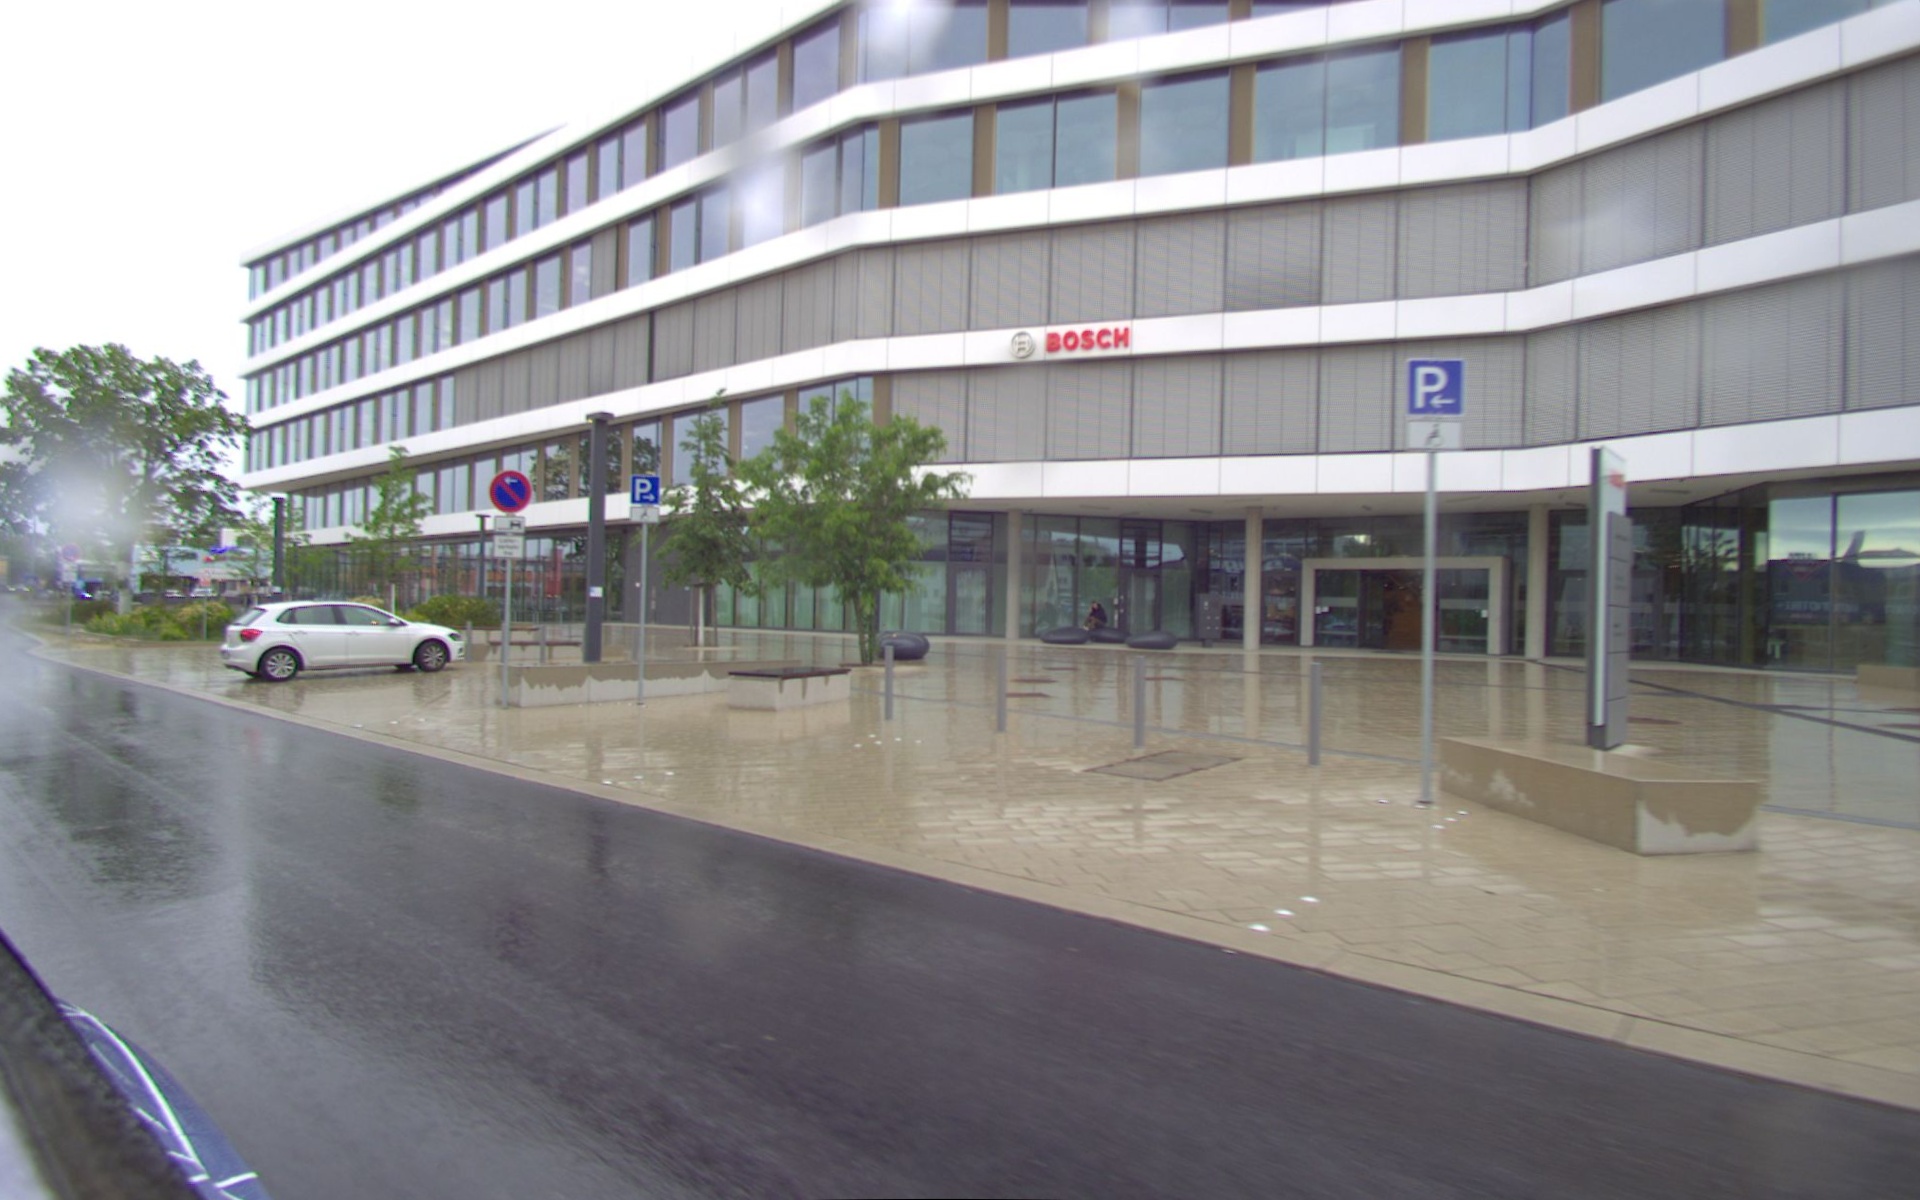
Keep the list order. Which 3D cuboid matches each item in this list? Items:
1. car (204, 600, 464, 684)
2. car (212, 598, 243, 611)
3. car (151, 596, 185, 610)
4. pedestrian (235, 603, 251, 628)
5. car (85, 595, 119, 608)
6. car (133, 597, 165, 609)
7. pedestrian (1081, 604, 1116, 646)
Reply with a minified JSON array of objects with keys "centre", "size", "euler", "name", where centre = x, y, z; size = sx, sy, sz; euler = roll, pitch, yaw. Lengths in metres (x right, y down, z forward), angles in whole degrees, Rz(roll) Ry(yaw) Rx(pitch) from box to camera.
[{"centre":[-11.932,0.757,19.460],"size":[1.898,1.434,3.886],"euler":[0,-1,42],"name":"car"},{"centre":[-76.552,0.426,105.757],"size":[1.855,1.305,4.013],"euler":[-2,1,-25],"name":"car"},{"centre":[-80.810,0.312,103.314],"size":[1.855,1.305,4.013],"euler":[-2,1,-25],"name":"car"},{"centre":[-50.393,1.101,71.121],"size":[0.957,1.716,0.716],"euler":[2,4,45],"name":"pedestrian"},{"centre":[-101.375,0.157,119.652],"size":[1.888,1.541,4.013],"euler":[-1,0,-22],"name":"car"},{"centre":[-90.467,0.332,112.931],"size":[1.855,1.305,4.013],"euler":[-2,1,-25],"name":"car"},{"centre":[4.592,0.823,33.519],"size":[1.051,1.324,0.895],"euler":[0,3,14],"name":"pedestrian"}]
